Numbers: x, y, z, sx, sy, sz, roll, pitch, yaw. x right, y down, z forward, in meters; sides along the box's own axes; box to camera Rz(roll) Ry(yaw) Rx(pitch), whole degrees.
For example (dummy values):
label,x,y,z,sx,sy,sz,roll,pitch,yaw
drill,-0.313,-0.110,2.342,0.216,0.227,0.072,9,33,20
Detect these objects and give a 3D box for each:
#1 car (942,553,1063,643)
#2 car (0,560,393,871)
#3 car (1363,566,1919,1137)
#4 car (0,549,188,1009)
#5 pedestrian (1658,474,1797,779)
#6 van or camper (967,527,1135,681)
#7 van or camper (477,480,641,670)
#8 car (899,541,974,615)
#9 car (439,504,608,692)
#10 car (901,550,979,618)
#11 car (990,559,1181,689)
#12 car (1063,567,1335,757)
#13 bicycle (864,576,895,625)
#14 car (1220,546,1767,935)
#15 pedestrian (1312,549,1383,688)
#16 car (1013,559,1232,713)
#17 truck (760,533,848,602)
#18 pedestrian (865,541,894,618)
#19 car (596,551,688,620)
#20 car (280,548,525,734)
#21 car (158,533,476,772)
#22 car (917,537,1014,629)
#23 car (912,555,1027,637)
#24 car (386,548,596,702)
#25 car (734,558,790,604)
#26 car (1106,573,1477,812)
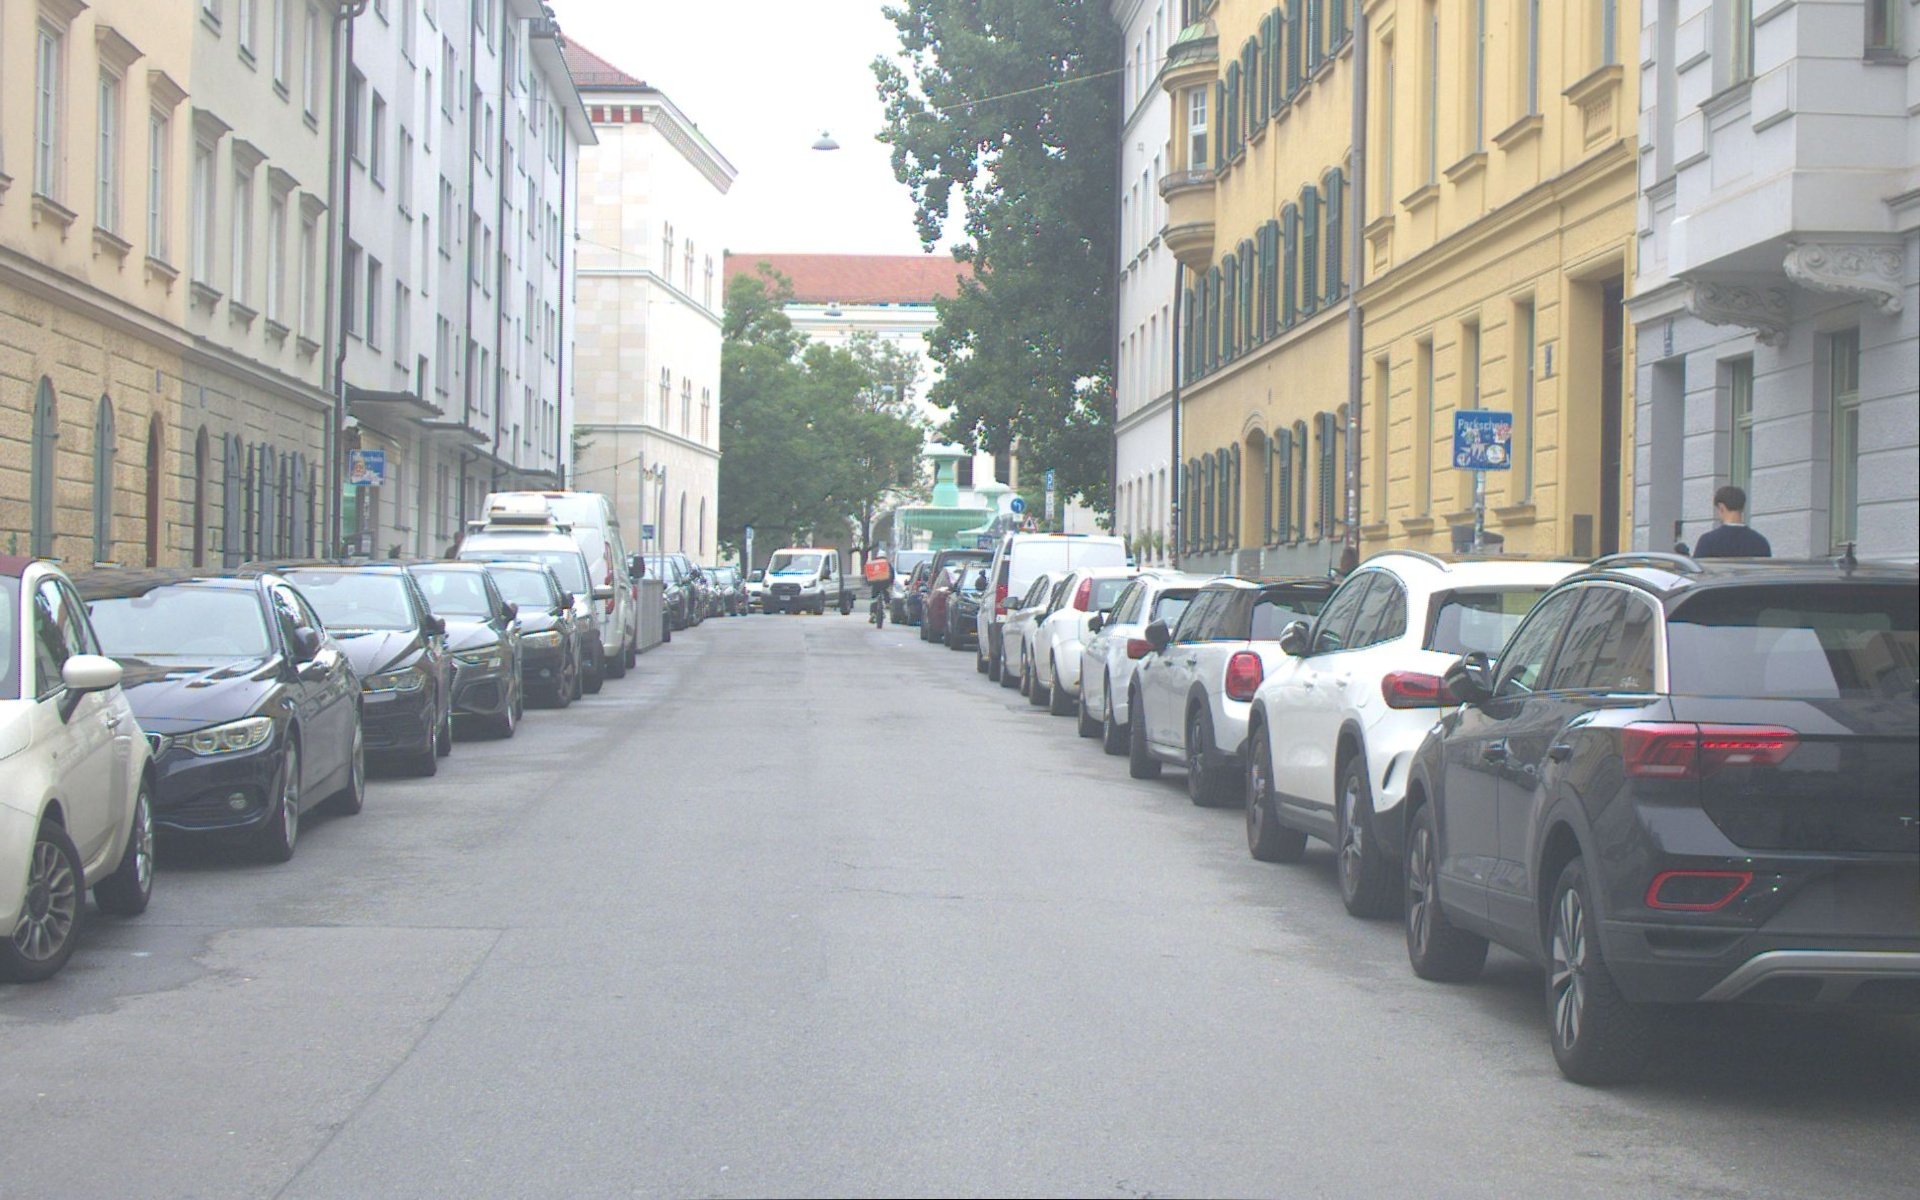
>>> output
label,x,y,z,sx,sy,sz,roll,pitch,yaw
car,0.704,-0.050,59.991,1.811,1.460,4.247,2,0,-3
car,-4.151,0.503,18.068,1.798,1.335,4.686,1,1,-3
car,2.555,0.665,11.374,1.754,1.516,4.275,1,0,-2
car,-4.060,0.539,12.926,1.754,1.470,3.715,2,1,-5
pedestrian,5.101,0.176,22.878,0.669,1.974,0.708,-2,-1,-2
van or camper,1.135,0.020,44.999,1.833,1.865,5.079,1,1,-2
van or camper,-5.126,-0.333,44.525,1.754,2.273,5.274,1,0,-3
car,-0.658,-0.585,91.568,1.851,1.913,4.769,1,0,-2
car,-4.949,-0.043,39.265,1.754,1.988,4.626,1,0,-6
car,-0.526,-0.405,85.694,1.811,1.609,4.156,1,0,-2
car,1.393,0.240,39.762,1.708,1.388,4.207,1,1,-4
car,1.888,0.450,28.504,1.708,1.404,4.815,1,1,-2
bicycle,-1.828,0.020,77.722,0.675,1.091,1.760,1,-1,-2
car,2.386,0.565,16.509,1.743,1.578,4.467,1,0,-2
pedestrian,4.454,0.216,39.505,0.660,1.566,0.642,-2,-1,-3
car,1.600,0.323,35.202,1.708,1.449,4.097,1,0,-4
truck,-5.222,-1.063,116.014,2.121,2.240,6.184,1,0,5
pedestrian,-1.827,-0.456,77.745,0.642,1.708,0.843,1,-1,-2
car,-6.723,-0.317,72.993,1.817,1.439,3.819,0,0,-3
car,-4.624,0.288,28.998,1.816,1.436,4.132,0,1,-6
car,-4.399,0.312,24.060,1.754,1.491,4.201,1,0,-5
car,0.083,-0.364,71.792,1.811,1.791,4.247,2,0,-2
car,0.148,-0.090,64.790,1.811,1.420,4.247,2,0,-4
car,-4.589,0.213,34.112,1.754,1.404,4.104,1,0,-4
car,-6.935,-0.679,120.781,1.706,1.576,3.863,0,0,0
car,2.095,0.544,22.858,1.708,1.400,4.208,1,1,-5
